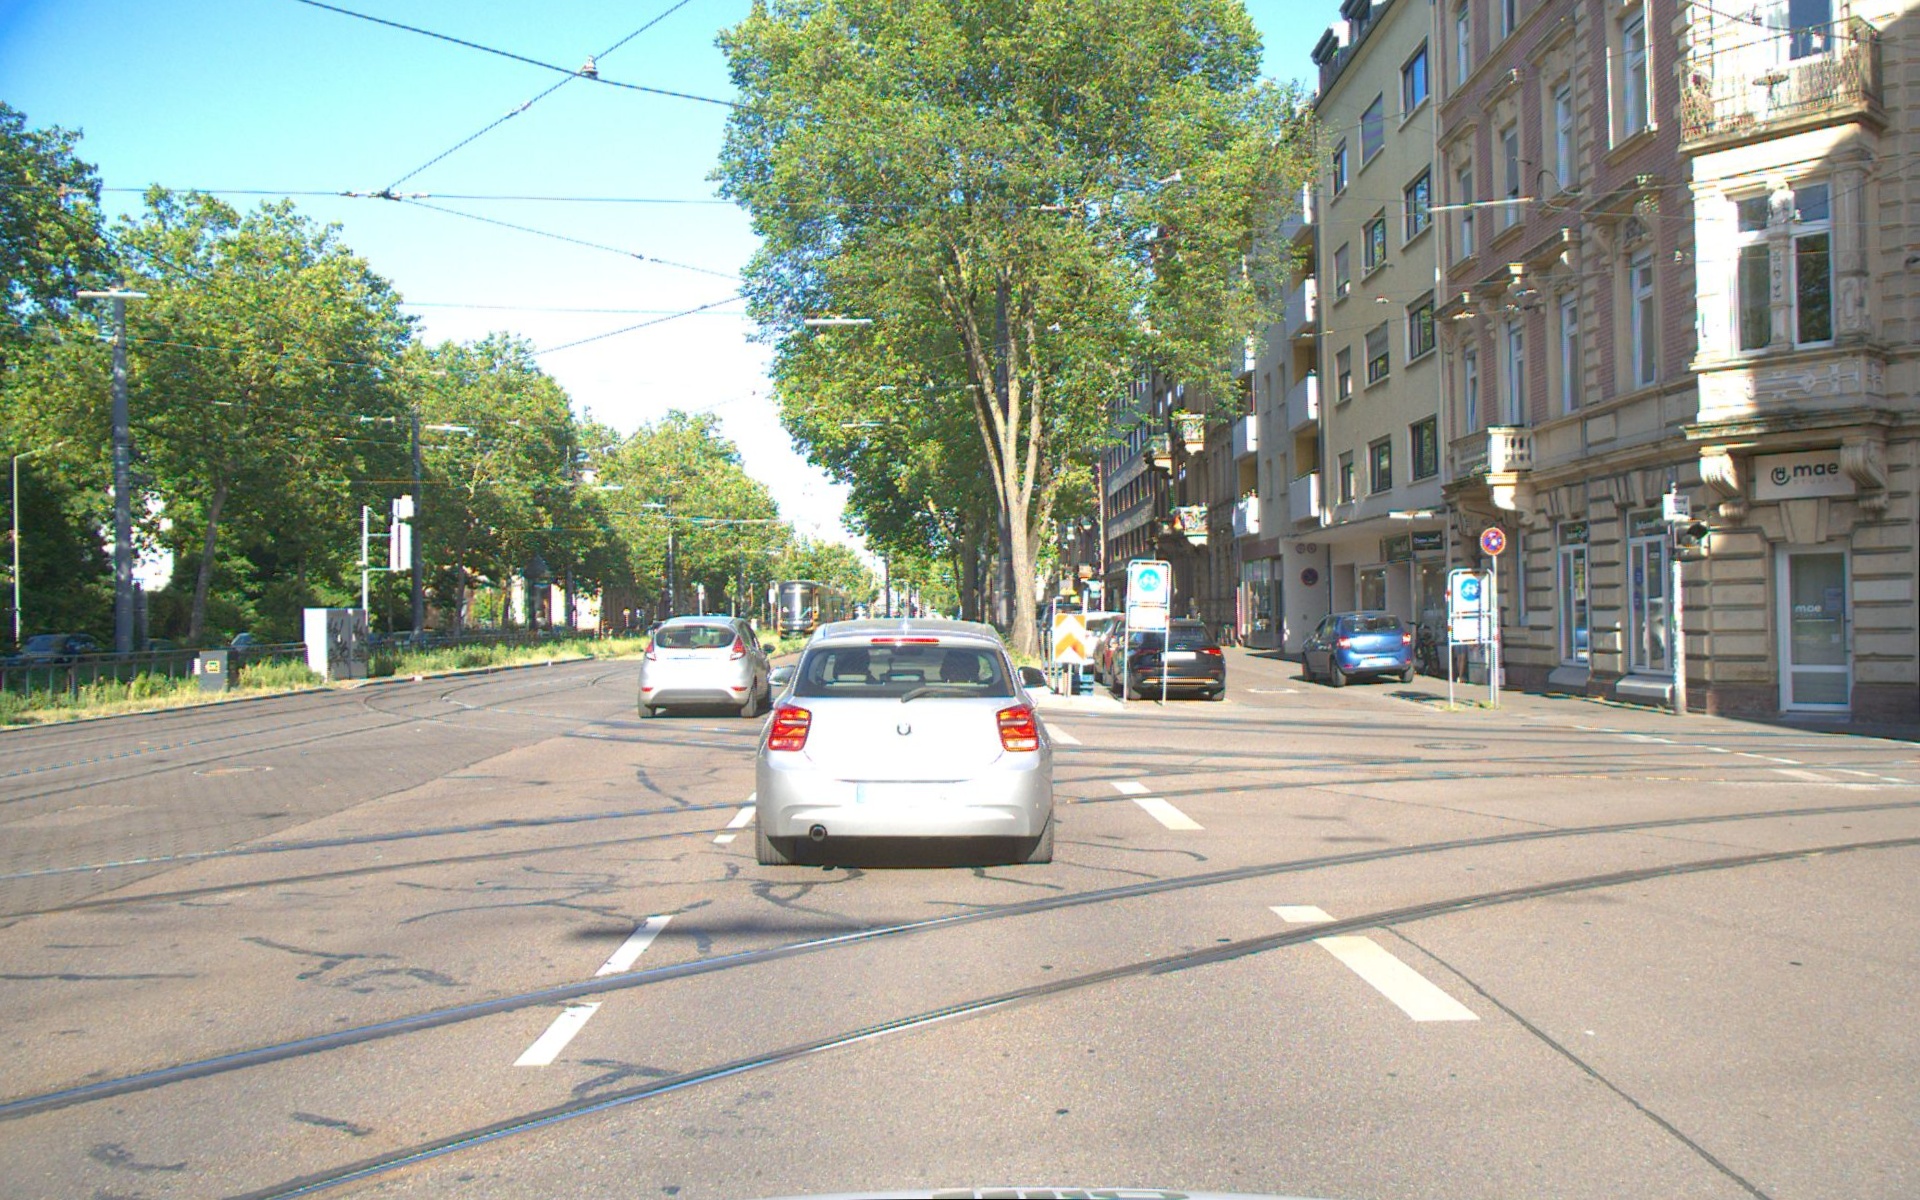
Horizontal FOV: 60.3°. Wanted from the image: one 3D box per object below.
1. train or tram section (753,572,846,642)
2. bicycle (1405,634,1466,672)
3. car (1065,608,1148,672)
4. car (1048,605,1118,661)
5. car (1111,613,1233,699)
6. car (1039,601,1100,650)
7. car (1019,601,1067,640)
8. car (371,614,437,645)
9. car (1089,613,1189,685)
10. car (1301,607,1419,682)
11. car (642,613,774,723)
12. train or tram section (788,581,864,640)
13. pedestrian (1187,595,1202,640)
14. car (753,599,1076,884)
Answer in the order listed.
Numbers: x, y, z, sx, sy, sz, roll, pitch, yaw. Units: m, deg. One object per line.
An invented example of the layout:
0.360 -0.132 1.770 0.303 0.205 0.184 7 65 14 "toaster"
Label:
-9.685 0.419 102.239 3.887 3.933 17.488 -1 0 0 "train or tram section"
10.444 1.150 36.359 0.739 0.784 1.945 -1 0 -1 "bicycle"
3.617 0.970 41.408 1.689 1.533 3.554 0 0 -1 "car"
3.516 0.916 47.660 1.689 1.533 3.554 0 0 -1 "car"
3.838 0.983 30.465 1.700 1.458 3.677 0 0 -1 "car"
3.567 0.807 54.223 1.689 1.533 3.554 0 0 -1 "car"
3.326 0.802 66.513 1.689 1.533 3.554 0 0 -1 "car"
-29.041 1.517 86.484 1.896 1.536 4.848 -1 0 -1 "car"
3.818 1.020 35.741 1.708 1.458 3.554 0 0 -1 "car"
8.696 0.939 36.218 1.700 1.546 3.636 0 0 0 "car"
-3.705 0.955 24.833 1.577 1.493 3.887 -1 0 -3 "car"
-9.482 0.732 119.760 3.923 3.933 17.488 -1 0 0 "train or tram section"
9.652 0.706 68.124 0.495 1.833 0.805 -1 0 0 "pedestrian"
-0.234 0.765 10.836 1.704 1.493 4.000 1 0 0 "car"
